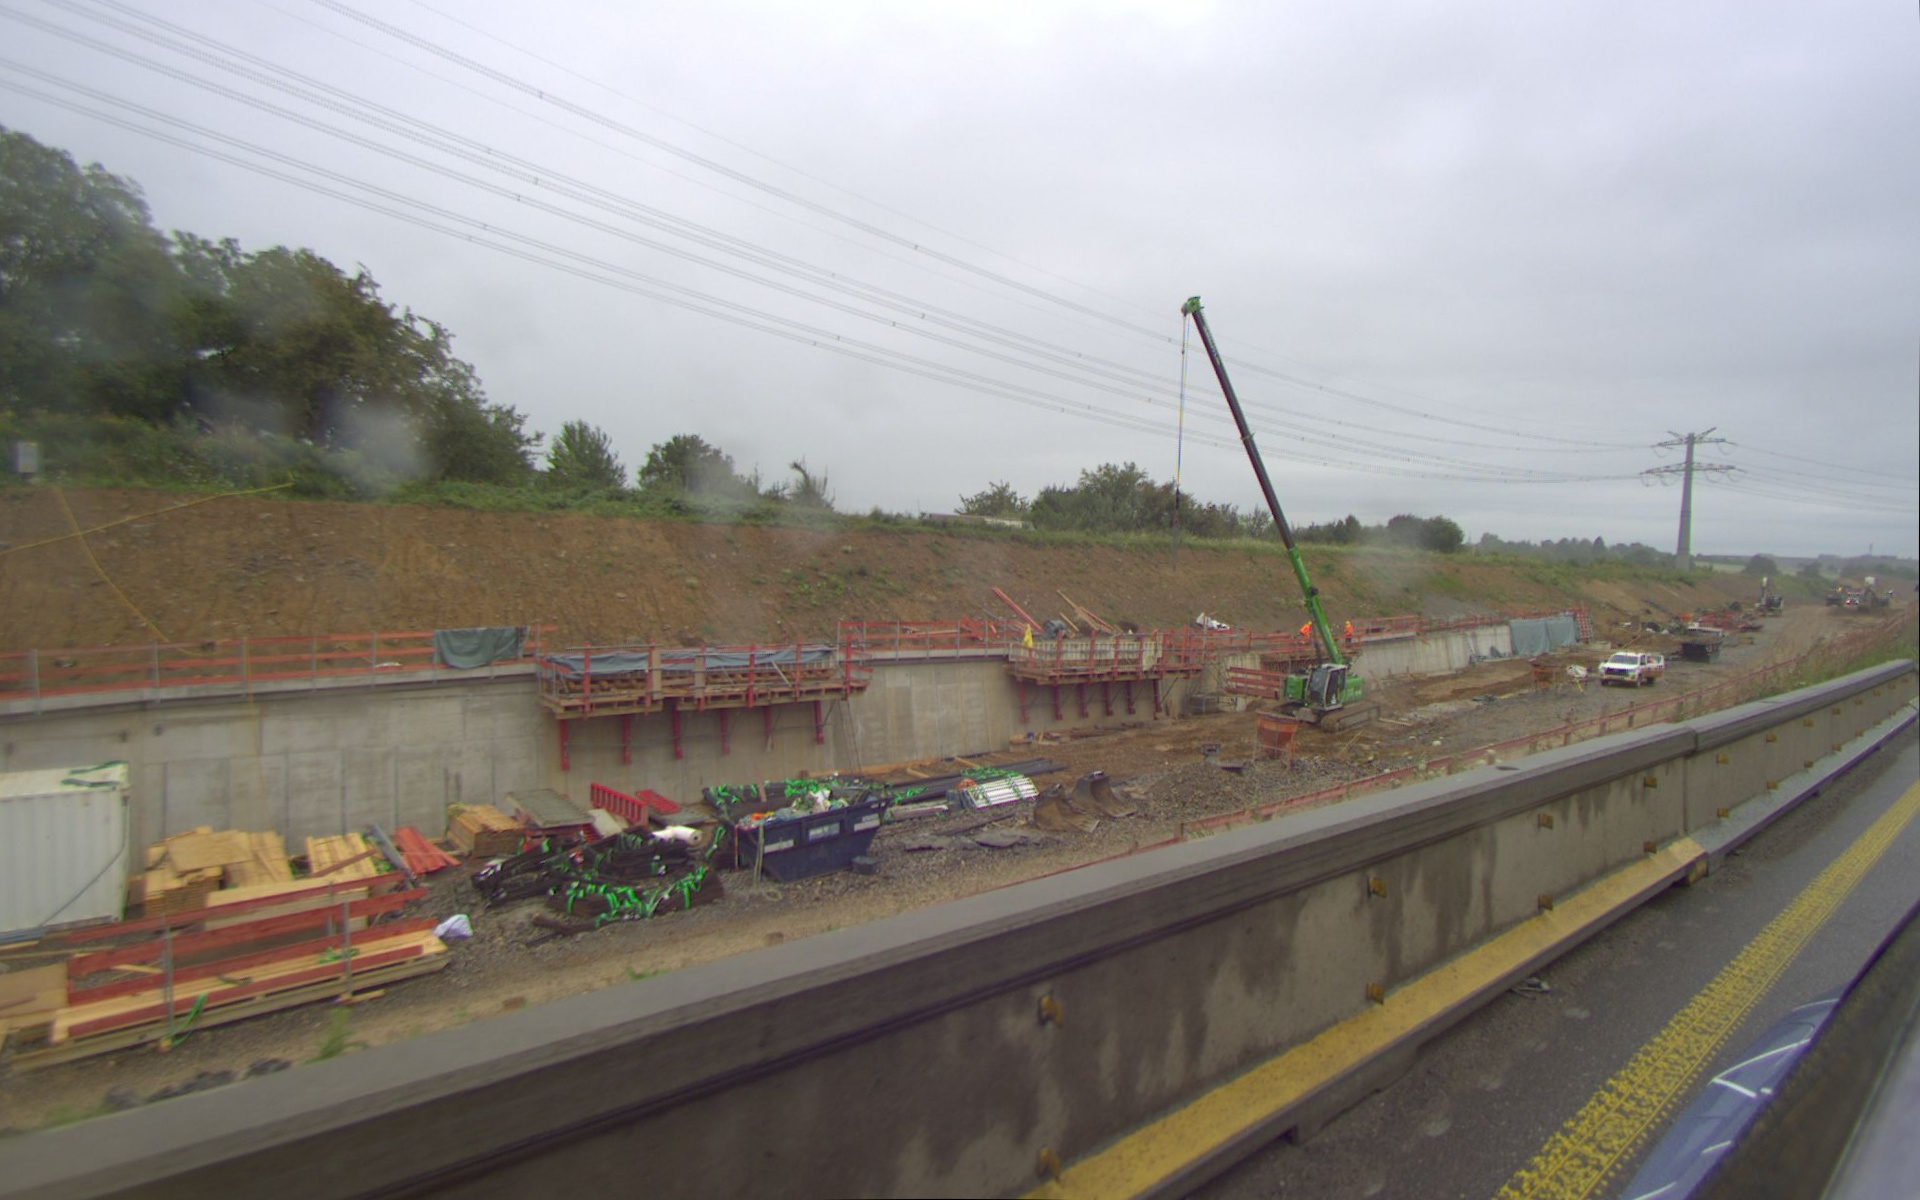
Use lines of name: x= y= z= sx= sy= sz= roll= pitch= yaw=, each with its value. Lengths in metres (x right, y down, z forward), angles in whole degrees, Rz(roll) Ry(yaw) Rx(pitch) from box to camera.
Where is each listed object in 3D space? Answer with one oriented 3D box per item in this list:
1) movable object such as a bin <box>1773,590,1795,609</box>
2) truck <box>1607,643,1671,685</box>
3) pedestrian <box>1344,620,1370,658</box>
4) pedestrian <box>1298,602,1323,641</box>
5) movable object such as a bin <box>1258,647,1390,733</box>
movable object such as a bin: x=121.886 y=-0.029 z=149.660 sx=2.246 sy=2.753 sz=3.937 roll=-1 pitch=0 yaw=44
truck: x=38.855 y=3.603 z=57.834 sx=5.689 sy=1.894 sz=1.764 roll=-1 pitch=2 yaw=-43
pedestrian: x=24.545 y=2.392 z=62.578 sx=0.988 sy=2.260 sz=0.917 roll=-2 pitch=-4 yaw=-39
pedestrian: x=21.373 y=1.296 z=61.736 sx=0.915 sy=2.275 sz=0.990 roll=-7 pitch=-4 yaw=44
movable object such as a bin: x=16.373 y=3.942 z=45.494 sx=4.779 sy=2.836 sz=3.796 roll=-7 pitch=6 yaw=-43
